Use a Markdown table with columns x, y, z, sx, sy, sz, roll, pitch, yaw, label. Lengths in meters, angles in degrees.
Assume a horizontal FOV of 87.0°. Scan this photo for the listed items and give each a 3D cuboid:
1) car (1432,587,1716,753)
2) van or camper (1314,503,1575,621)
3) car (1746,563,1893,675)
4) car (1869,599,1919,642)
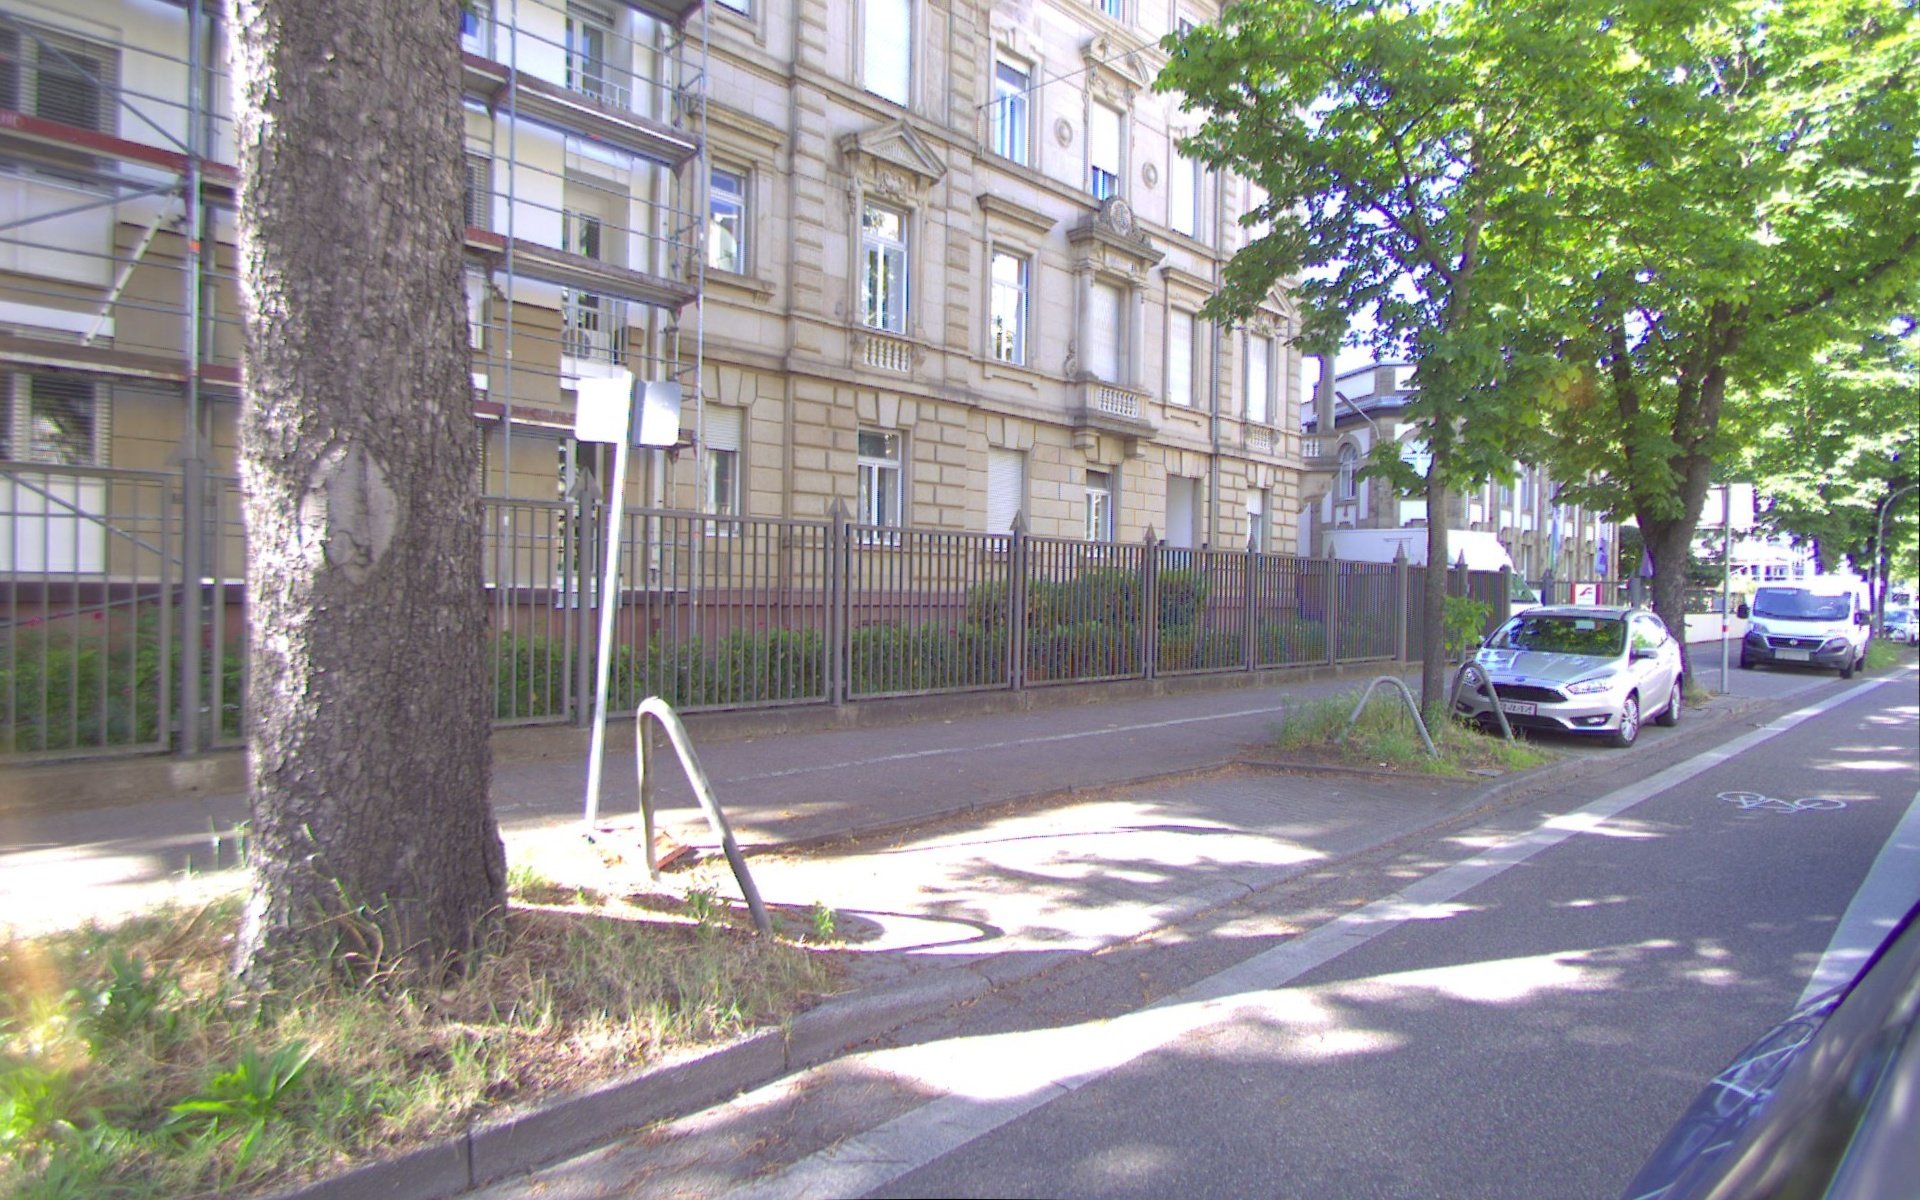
| x | y | z | sx | sy | sz | roll | pitch | yaw | label |
| --- | --- | --- | --- | --- | --- | --- | --- | --- | --- |
| 7.525 | 0.668 | 12.211 | 4.294 | 1.562 | 1.874 | -1 | 3 | -44 | car |
| 12.251 | -0.889 | 26.376 | 2.078 | 2.660 | 6.751 | 0 | 0 | -17 | van or camper |
| 20.978 | 0.352 | 24.597 | 5.710 | 2.371 | 2.129 | -1 | 3 | -44 | car |
| 37.434 | 0.776 | 40.081 | 4.035 | 1.569 | 1.863 | -1 | 1 | -44 | car |
